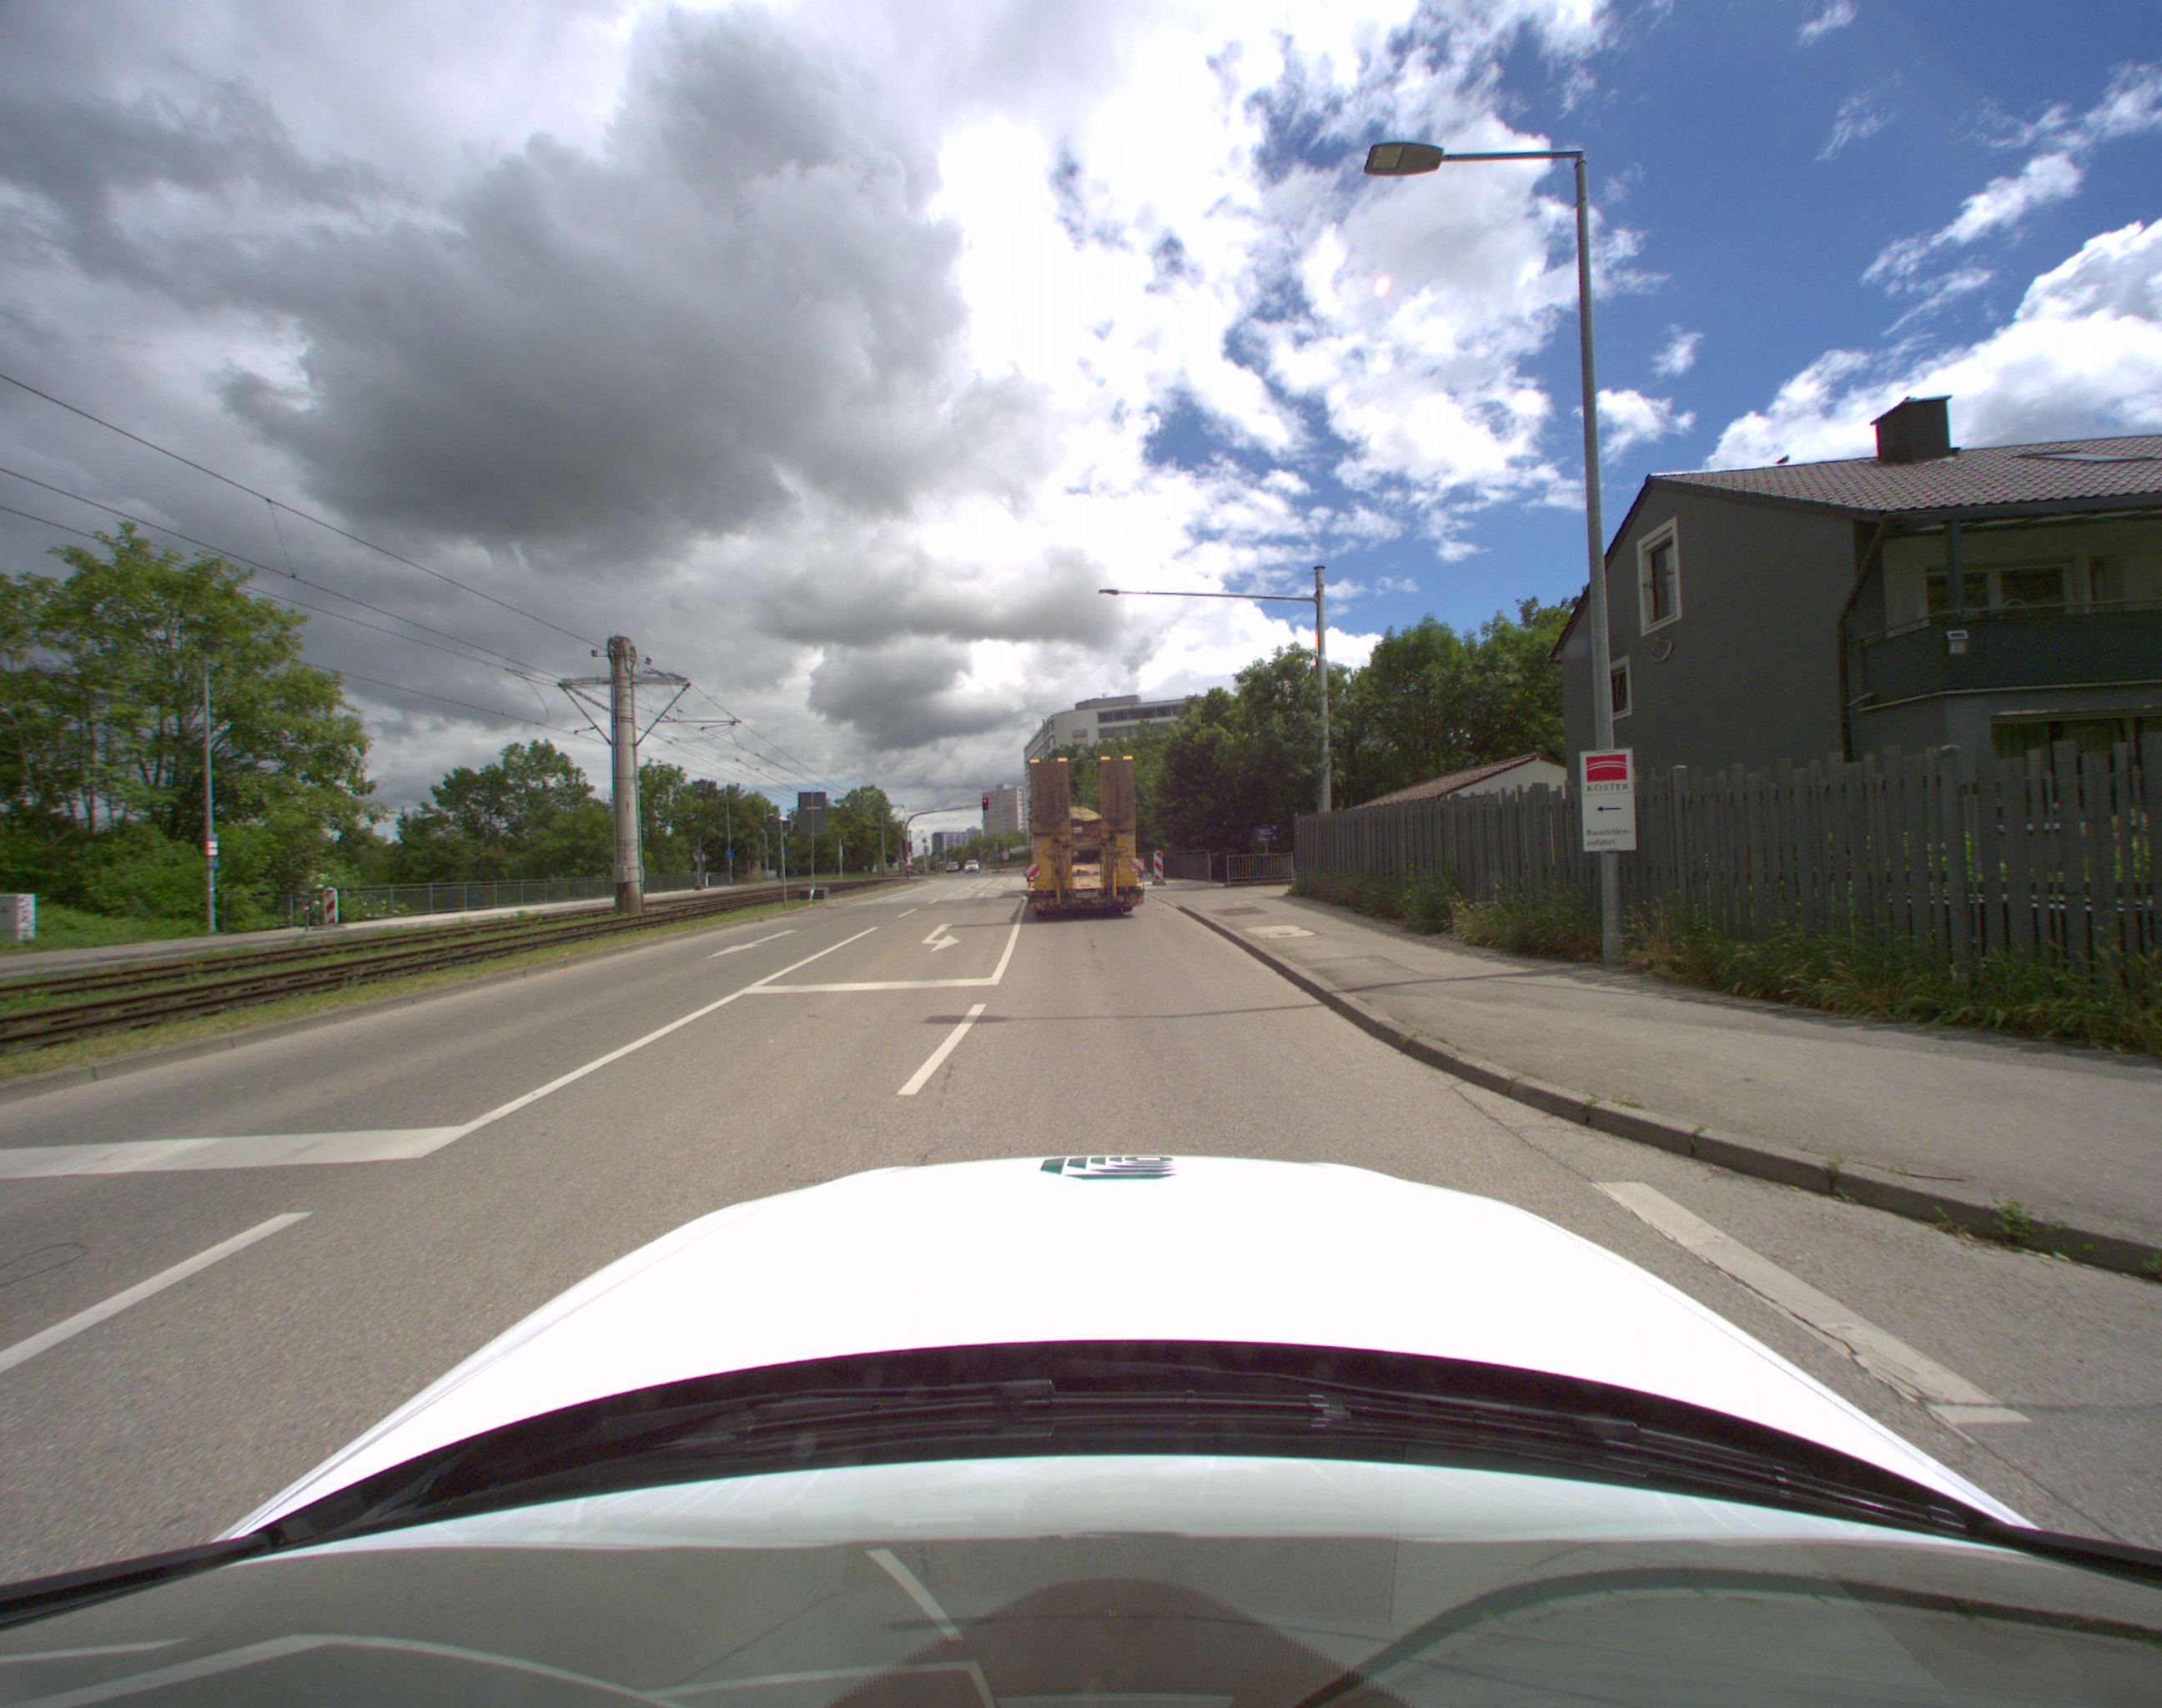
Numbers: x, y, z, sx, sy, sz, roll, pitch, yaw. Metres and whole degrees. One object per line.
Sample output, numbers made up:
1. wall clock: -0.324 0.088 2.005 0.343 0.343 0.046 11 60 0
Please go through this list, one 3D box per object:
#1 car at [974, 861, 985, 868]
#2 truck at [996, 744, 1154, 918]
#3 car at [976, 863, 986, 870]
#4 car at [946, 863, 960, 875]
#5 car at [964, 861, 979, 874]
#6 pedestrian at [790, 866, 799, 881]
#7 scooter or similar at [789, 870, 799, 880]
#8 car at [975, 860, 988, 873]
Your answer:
1. car: -19.167 1.975 154.026 1.991 1.420 3.990 -1 -1 -7
2. truck: -0.264 -0.427 23.658 3.307 3.651 12.553 -1 -1 -1
3. car: -20.069 2.514 163.956 1.991 1.420 3.990 -1 -1 -7
4. car: -18.679 2.212 119.179 1.782 1.570 4.333 -3 -1 -8
5. car: -13.257 1.628 98.488 1.590 1.527 3.648 -3 -1 -5
6. pedestrian: -35.079 2.411 99.766 0.800 1.811 0.808 -1 -1 -3
7. scooter or similar: -34.824 2.553 98.798 0.889 1.184 0.971 -1 -1 -5
8. car: -16.012 1.988 131.186 1.991 1.926 3.990 -1 -1 -7
